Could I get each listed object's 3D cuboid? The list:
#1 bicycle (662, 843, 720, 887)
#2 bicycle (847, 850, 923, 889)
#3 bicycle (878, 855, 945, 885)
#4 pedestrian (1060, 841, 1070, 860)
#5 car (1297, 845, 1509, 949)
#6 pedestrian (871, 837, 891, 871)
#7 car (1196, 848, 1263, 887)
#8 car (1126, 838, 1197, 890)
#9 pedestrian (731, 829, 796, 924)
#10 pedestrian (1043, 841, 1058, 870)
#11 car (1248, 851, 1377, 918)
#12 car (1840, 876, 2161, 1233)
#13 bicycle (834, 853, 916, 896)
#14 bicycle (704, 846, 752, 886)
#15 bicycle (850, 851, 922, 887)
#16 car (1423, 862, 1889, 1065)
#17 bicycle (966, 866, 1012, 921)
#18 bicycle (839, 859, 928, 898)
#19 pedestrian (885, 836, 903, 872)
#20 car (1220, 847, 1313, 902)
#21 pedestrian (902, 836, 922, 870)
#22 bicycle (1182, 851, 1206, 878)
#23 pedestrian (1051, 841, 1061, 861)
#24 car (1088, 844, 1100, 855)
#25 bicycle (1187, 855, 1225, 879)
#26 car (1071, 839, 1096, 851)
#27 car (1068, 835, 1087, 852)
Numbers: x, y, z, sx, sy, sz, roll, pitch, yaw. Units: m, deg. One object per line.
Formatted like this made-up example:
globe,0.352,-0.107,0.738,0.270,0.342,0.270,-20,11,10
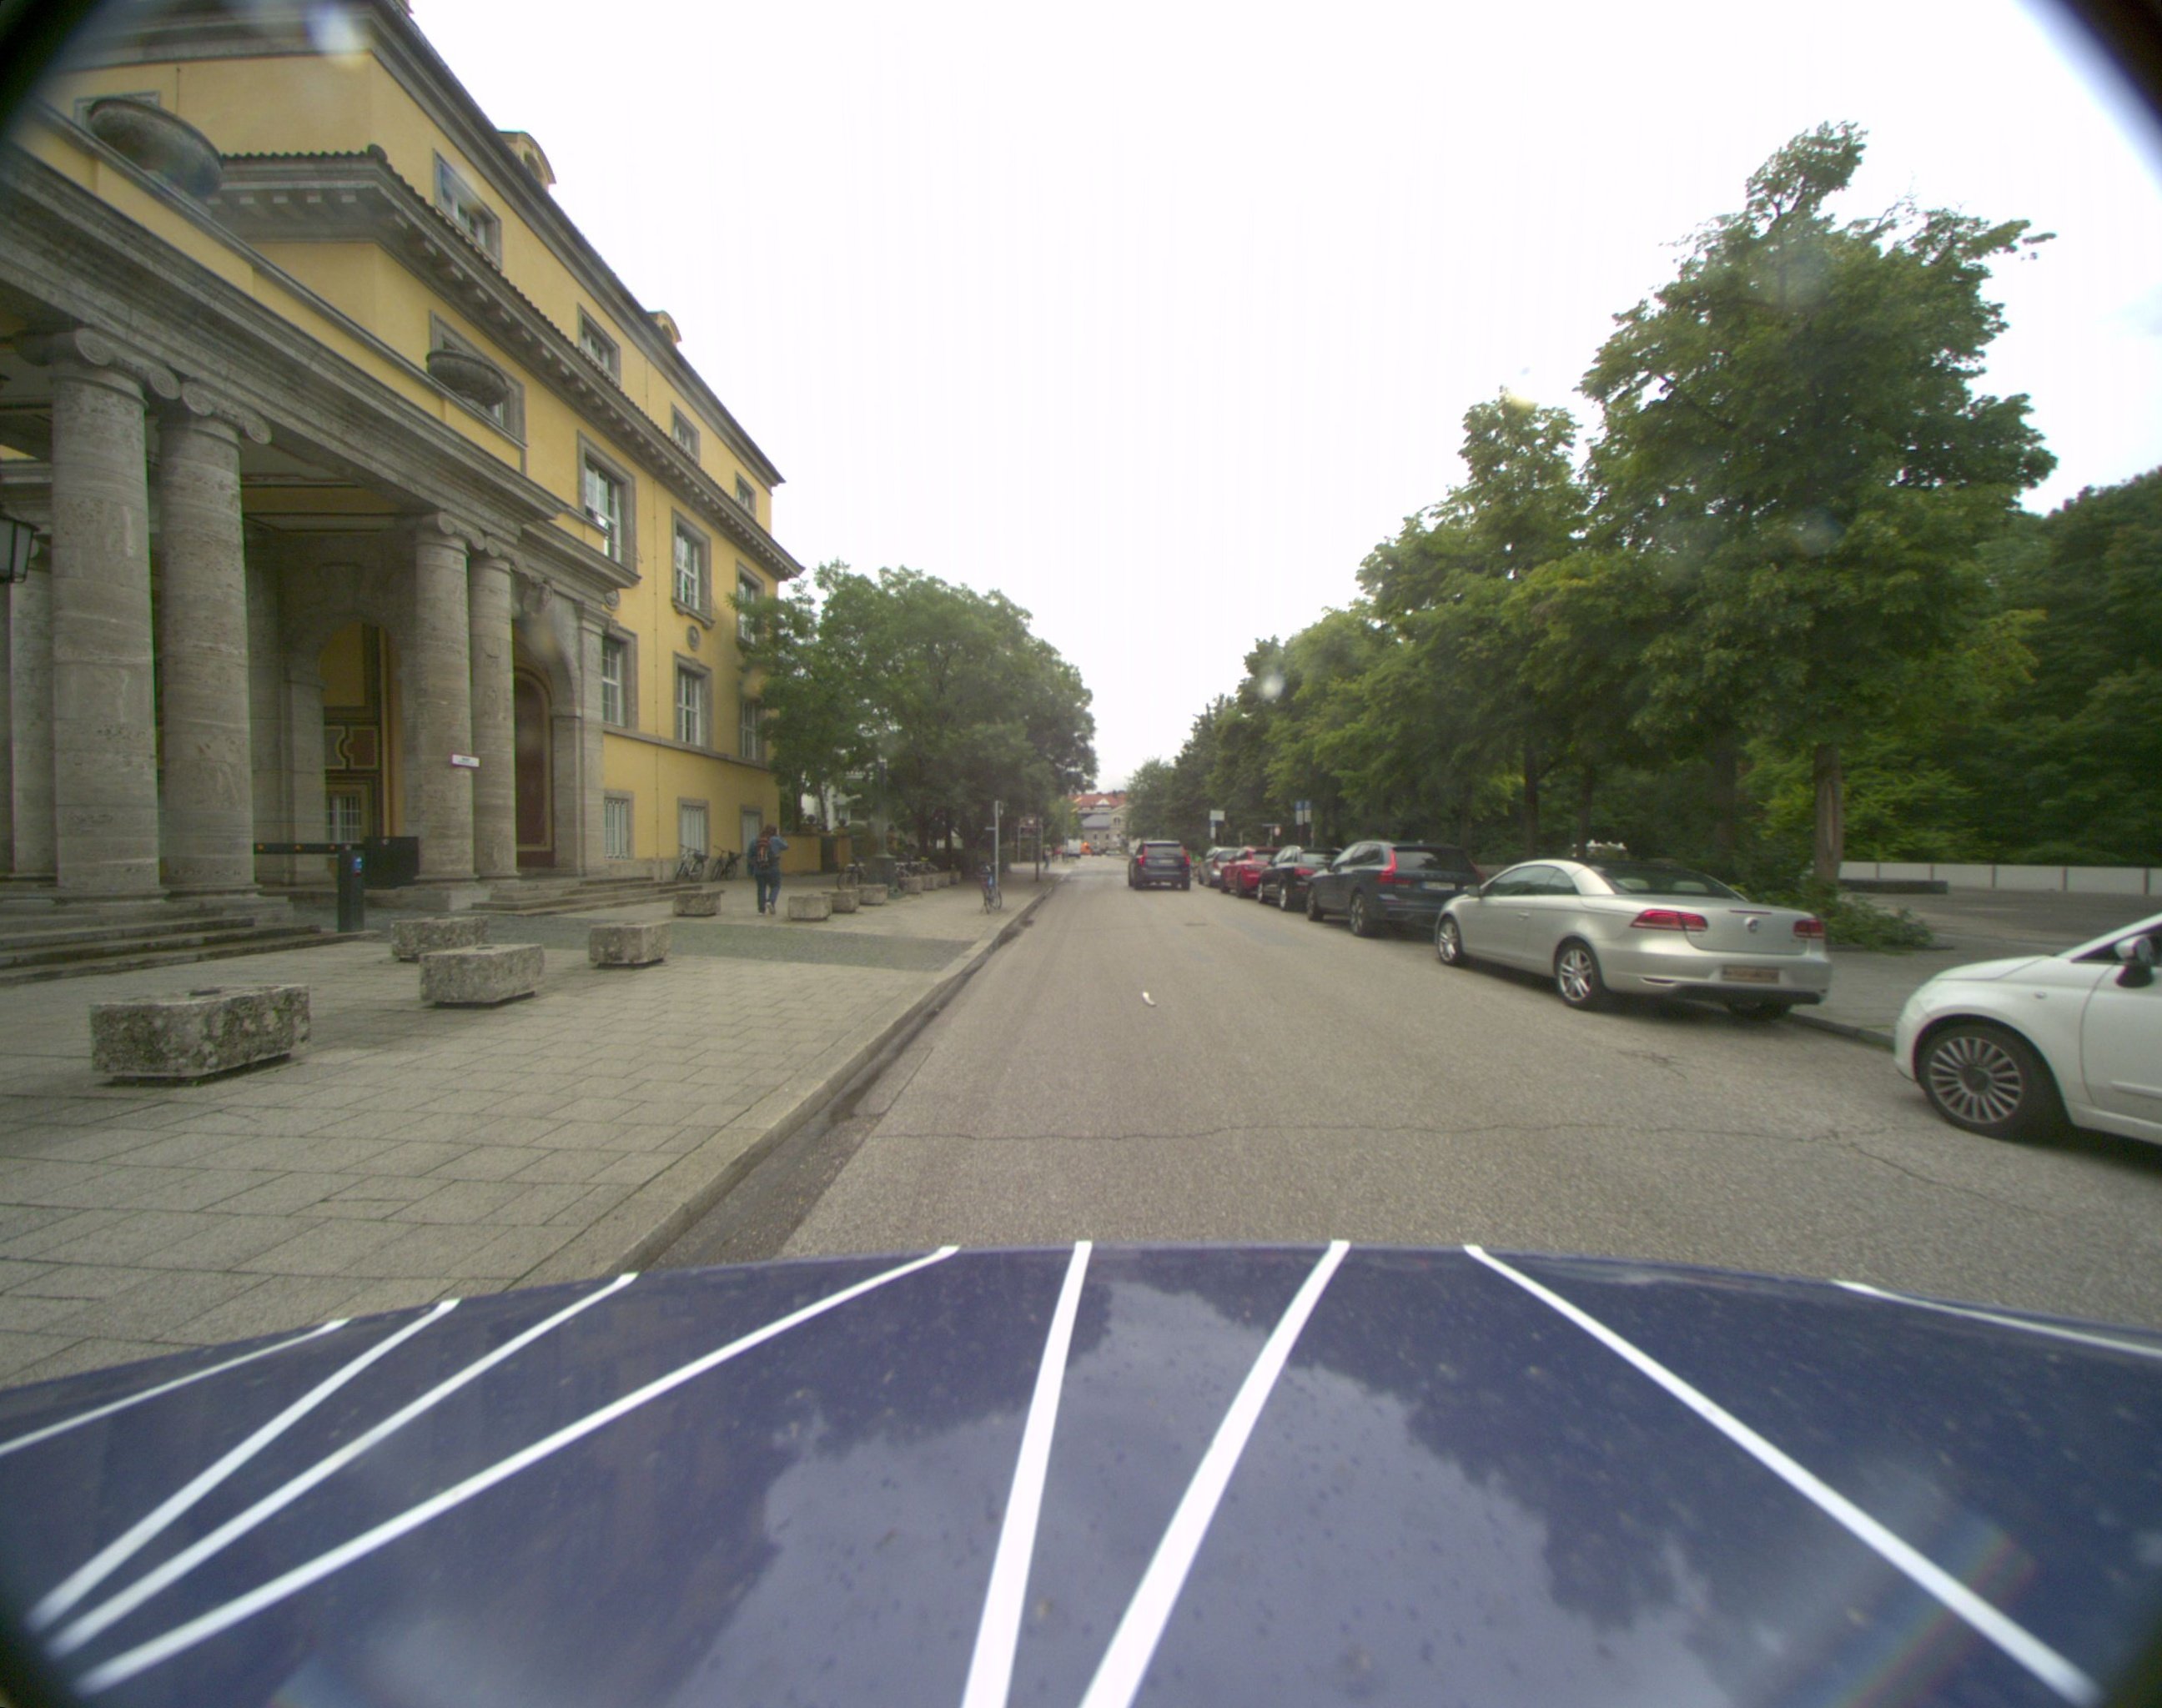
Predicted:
bicycle,-12.031,0.310,23.527,0.601,1.299,2.264,1,1,1
bicycle,-6.351,0.505,24.735,2.265,1.053,0.601,5,1,-10
bicycle,-6.192,0.580,27.801,2.261,1.005,0.602,2,1,3
pedestrian,-1.569,-0.350,73.848,0.777,1.855,0.997,-3,2,-5
car,5.571,0.639,13.897,1.998,1.574,4.521,0,1,1
pedestrian,-10.504,0.000,39.844,0.741,1.734,0.841,3,2,1
car,5.914,0.488,30.779,1.998,1.452,4.364,1,1,2
car,2.853,0.301,28.098,1.965,1.672,4.910,2,1,-1
pedestrian,-6.025,0.404,14.491,0.790,1.736,1.055,1,1,0
pedestrian,-1.838,0.072,46.398,0.798,1.722,0.660,-3,2,0
car,5.695,0.677,19.350,1.998,1.452,4.647,1,1,2
car,5.379,0.905,2.812,1.547,1.462,3.552,2,1,1
bicycle,-6.189,0.624,22.926,2.265,1.088,0.601,5,1,-10
bicycle,-11.989,0.386,25.886,0.601,1.299,2.164,1,1,1
bicycle,-6.559,0.498,25.650,2.265,1.018,0.601,5,1,-10
car,5.405,0.874,8.017,1.762,1.392,4.217,3,1,2
bicycle,-2.120,0.877,17.750,0.762,1.094,2.263,2,1,0
bicycle,-5.620,0.692,21.760,2.370,1.000,0.677,2,1,-8
pedestrian,-9.805,-0.026,39.830,0.659,1.855,0.820,3,2,1
car,5.727,0.576,24.076,1.998,1.535,4.364,1,1,2
pedestrian,-9.569,-0.065,43.034,0.782,1.855,1.035,3,2,1
bicycle,5.610,0.518,37.639,0.574,1.275,1.421,-1,1,33
pedestrian,-2.425,-0.290,73.746,0.777,1.855,0.996,-3,2,-7
car,2.397,-0.836,141.777,2.222,1.840,4.729,-3,2,1
bicycle,5.942,0.615,36.109,1.700,1.101,0.598,-1,2,-7
car,0.593,-2.040,169.077,4.973,2.521,2.577,-1,2,44
car,-0.556,-1.472,106.228,2.236,2.289,4.728,-3,2,-4
